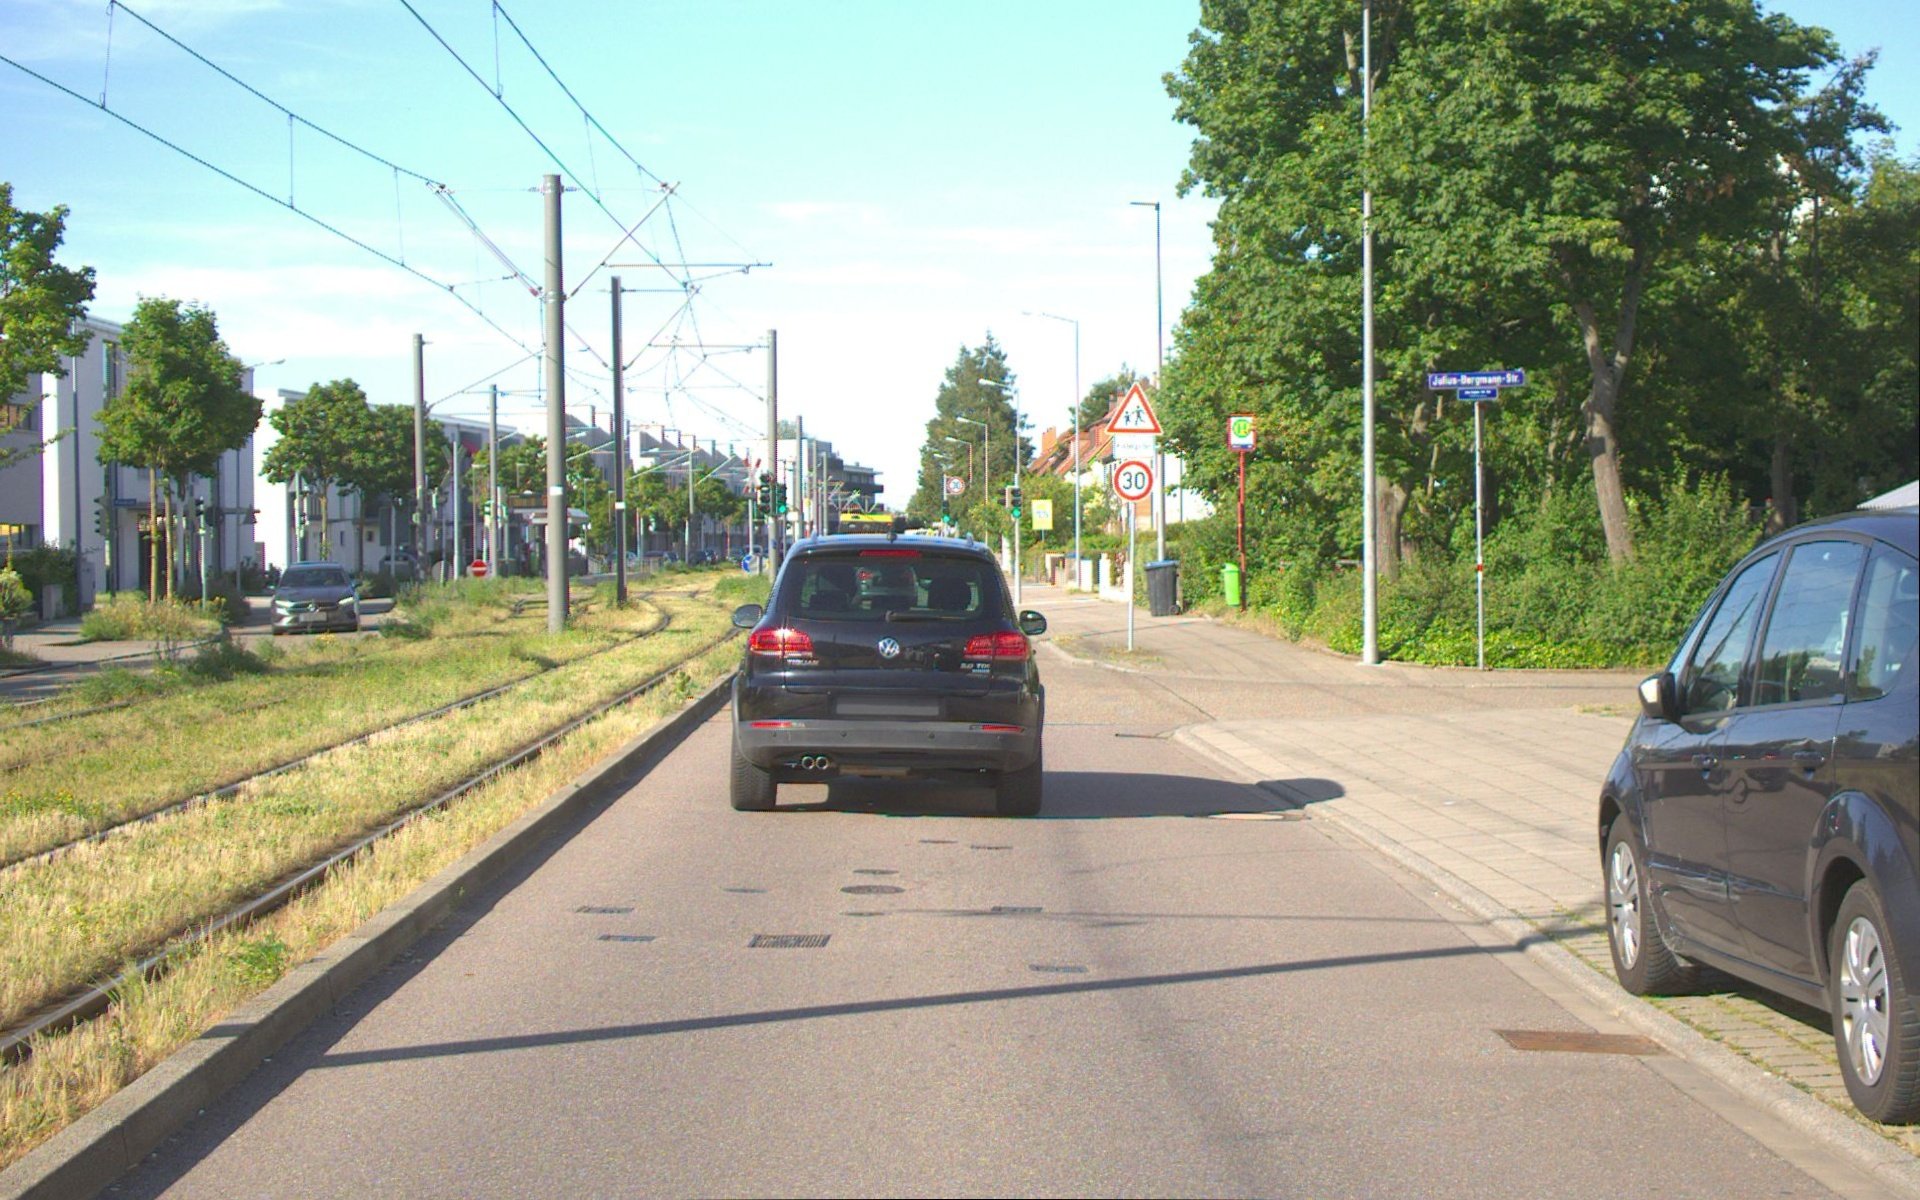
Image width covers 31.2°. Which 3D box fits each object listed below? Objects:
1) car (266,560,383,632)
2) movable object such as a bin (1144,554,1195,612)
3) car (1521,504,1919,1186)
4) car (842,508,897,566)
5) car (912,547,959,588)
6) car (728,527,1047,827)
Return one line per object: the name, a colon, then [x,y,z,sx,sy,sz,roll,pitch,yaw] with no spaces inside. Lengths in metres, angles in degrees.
car: [-13.289,-0.099,72.061,1.688,1.384,4.388,-2,1,-1]
movable object such as a bin: [4.131,-0.339,67.973,0.976,1.107,1.170,-1,1,3]
car: [3.118,0.529,10.469,1.791,1.623,4.861,-3,1,-2]
car: [-4.128,-2.887,157.825,2.394,2.556,5.530,-1,1,0]
car: [-1.026,-1.352,142.200,1.775,1.664,4.001,-1,1,-3]
car: [-0.512,0.407,21.337,1.775,1.664,4.001,1,1,-3]
